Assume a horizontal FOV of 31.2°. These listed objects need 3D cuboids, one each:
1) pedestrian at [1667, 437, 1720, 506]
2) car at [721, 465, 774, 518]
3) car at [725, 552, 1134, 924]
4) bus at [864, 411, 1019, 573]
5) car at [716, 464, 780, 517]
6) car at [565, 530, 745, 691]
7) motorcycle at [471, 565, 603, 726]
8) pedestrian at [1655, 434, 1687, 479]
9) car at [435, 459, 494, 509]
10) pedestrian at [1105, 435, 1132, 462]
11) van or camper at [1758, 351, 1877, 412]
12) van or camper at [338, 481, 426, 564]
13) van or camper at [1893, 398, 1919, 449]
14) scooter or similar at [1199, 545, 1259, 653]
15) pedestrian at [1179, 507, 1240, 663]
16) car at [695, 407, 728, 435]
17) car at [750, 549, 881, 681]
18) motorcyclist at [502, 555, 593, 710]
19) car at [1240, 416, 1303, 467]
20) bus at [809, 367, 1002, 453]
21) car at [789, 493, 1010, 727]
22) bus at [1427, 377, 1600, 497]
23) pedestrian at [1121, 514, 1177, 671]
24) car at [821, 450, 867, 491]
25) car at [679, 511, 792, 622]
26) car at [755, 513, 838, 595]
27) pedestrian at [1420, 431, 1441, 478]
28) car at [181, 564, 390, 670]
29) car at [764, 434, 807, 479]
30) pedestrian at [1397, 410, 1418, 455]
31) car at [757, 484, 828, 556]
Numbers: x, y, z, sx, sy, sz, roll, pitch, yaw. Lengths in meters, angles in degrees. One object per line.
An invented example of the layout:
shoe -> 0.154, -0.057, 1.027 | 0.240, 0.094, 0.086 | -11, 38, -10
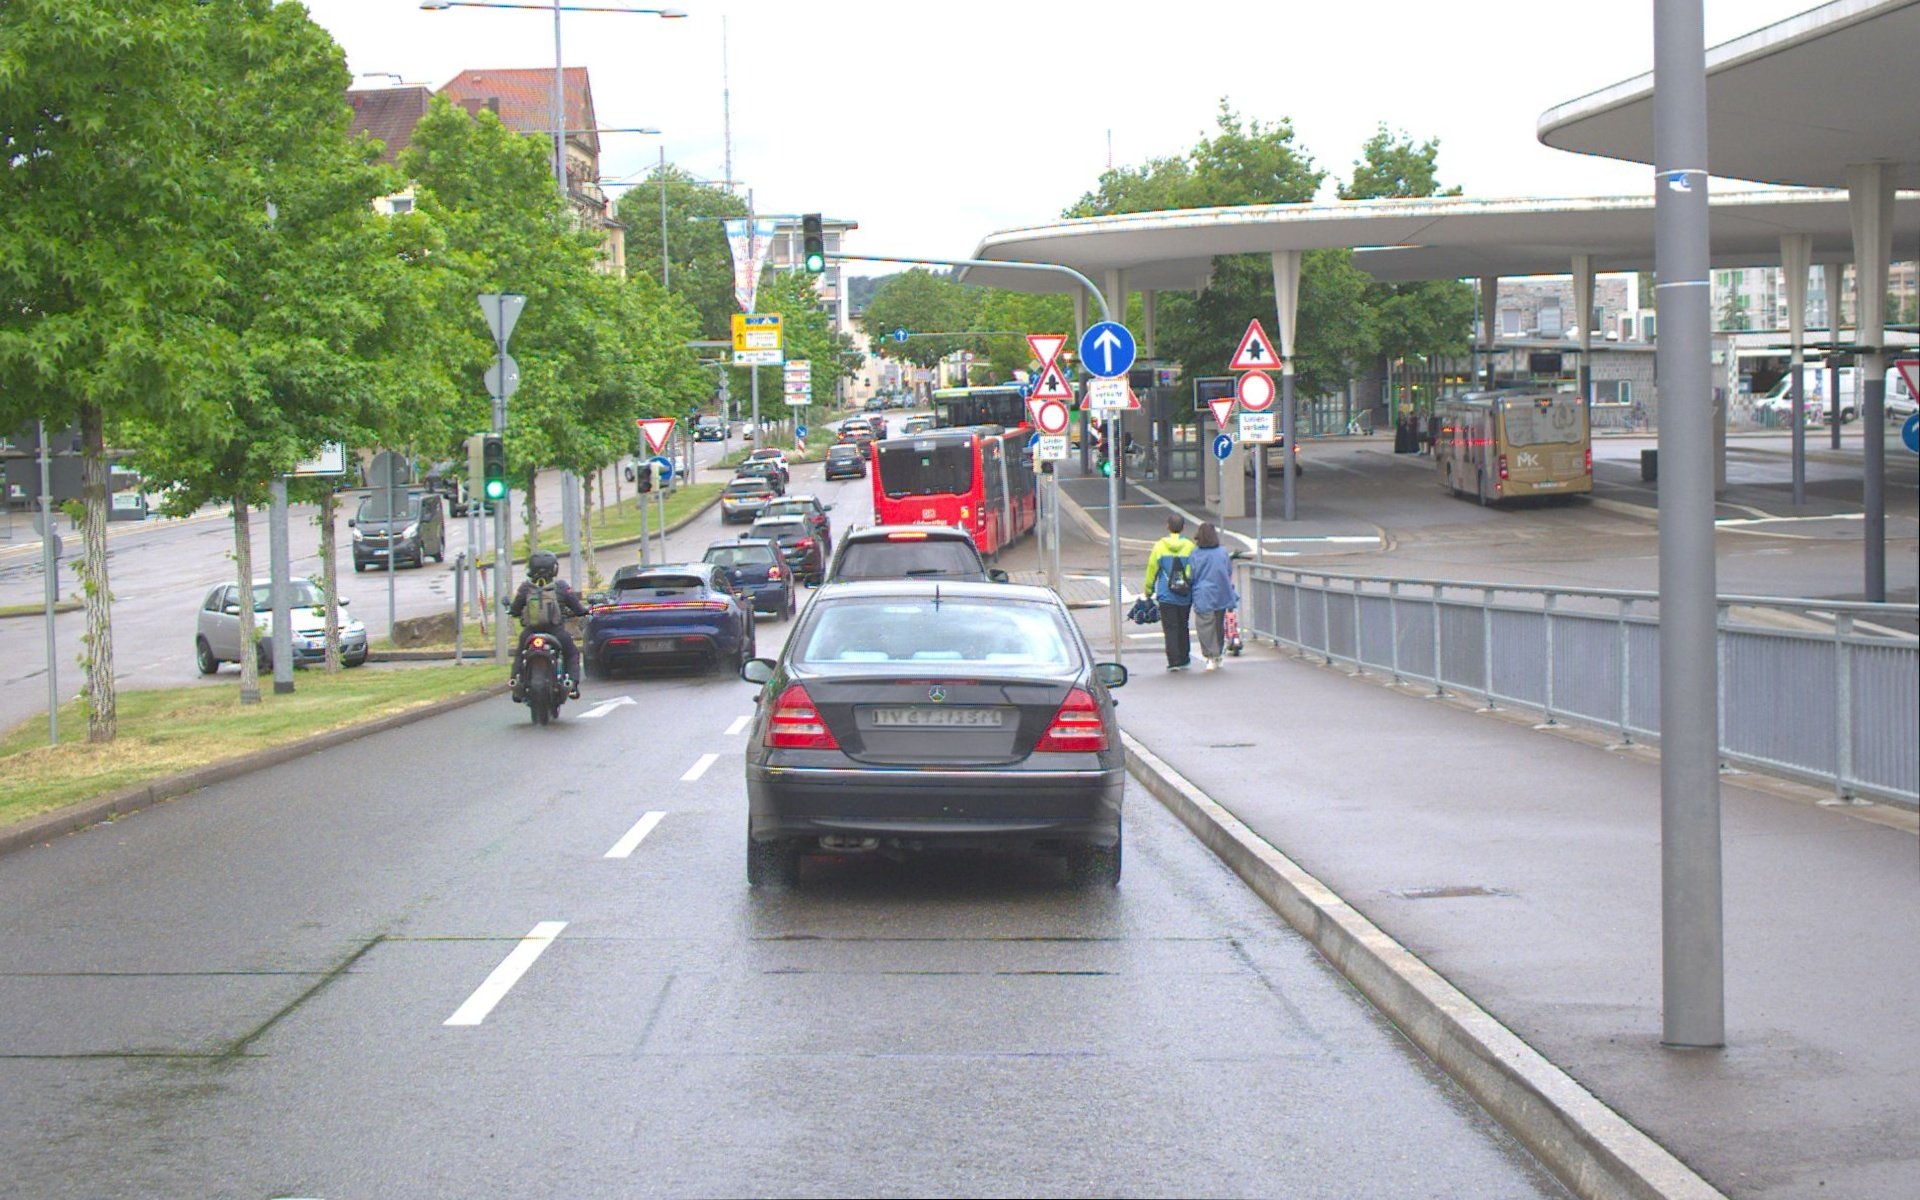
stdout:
pedestrian -> 18.318, -3.204, 85.843 | 0.717, 1.678, 1.021 | -6, 4, -26
car -> -8.082, -4.125, 131.161 | 1.797, 1.900, 3.640 | 1, 0, -1
car -> -0.163, 0.553, 16.658 | 1.697, 1.457, 4.304 | -1, 2, -1
bus -> -0.400, -2.711, 82.412 | 3.286, 3.280, 10.880 | -3, 4, 0
car -> -6.899, -3.564, 112.167 | 1.865, 1.678, 4.000 | 1, 1, -1
car -> -3.798, 0.079, 43.521 | 1.816, 1.565, 4.405 | -5, 4, 0
motorcycle -> -3.845, 0.395, 31.377 | 0.793, 1.257, 1.855 | -4, 4, 3
pedestrian -> 20.208, -4.070, 97.660 | 0.793, 1.222, 0.633 | -2, 4, 17
car -> -19.429, -4.562, 134.988 | 1.908, 1.656, 4.860 | -2, 5, -4
pedestrian -> 6.167, -5.895, 133.707 | 0.914, 0.981, 0.633 | -1, 0, 14
van or camper -> 37.375, -9.508, 149.899 | 4.607, 2.549, 2.119 | 0, 2, -2
van or camper -> -16.094, -2.128, 95.843 | 2.216, 2.065, 5.285 | -4, 1, -9
van or camper -> 40.822, -7.382, 143.761 | 1.993, 2.095, 5.481 | 0, 2, -1
scooter or similar -> 3.142, -0.018, 40.285 | 0.463, 1.217, 1.859 | -3, 0, -1
pedestrian -> 2.685, -0.162, 37.044 | 0.589, 1.665, 0.580 | 0, -1, -1
car -> -15.930, -11.469, 220.367 | 1.780, 1.561, 3.431 | -5, 4, 0
car -> -2.139, 0.187, 51.756 | 1.741, 1.561, 3.872 | -5, 4, 0
motorcyclist -> -3.782, 0.291, 31.537 | 0.641, 1.342, 0.689 | -3, 4, 3
car -> 11.135, -5.691, 122.961 | 1.711, 1.656, 4.241 | -2, 4, -1
bus -> -2.880, -9.643, 174.905 | 2.839, 3.973, 11.860 | -6, 5, -39
car -> -0.603, 0.024, 35.120 | 1.957, 1.869, 4.875 | -5, 4, 0
bus -> 15.662, -4.752, 98.208 | 2.721, 3.032, 12.092 | -3, 4, -1
pedestrian -> 2.037, -0.083, 37.104 | 0.522, 1.664, 0.580 | -1, 1, -1
car -> -4.882, -5.469, 145.388 | 1.865, 1.678, 4.000 | 1, 1, -1
car -> -3.963, -0.627, 61.248 | 1.676, 1.617, 3.872 | -5, 4, 0
car -> -3.697, -1.061, 78.072 | 1.575, 1.499, 3.872 | -5, 4, 0
pedestrian -> 17.020, -5.273, 124.381 | 0.560, 1.686, 0.614 | -2, 4, -7
car -> -10.282, 0.229, 52.236 | 1.632, 1.443, 3.876 | -5, 3, -34
car -> -7.417, -6.084, 146.048 | 1.642, 1.798, 3.640 | 1, 0, -1
pedestrian -> 17.465, -6.528, 134.154 | 0.580, 1.710, 0.560 | 1, 0, 35
car -> -4.323, -2.087, 89.032 | 1.575, 1.561, 3.872 | -5, 4, 0
